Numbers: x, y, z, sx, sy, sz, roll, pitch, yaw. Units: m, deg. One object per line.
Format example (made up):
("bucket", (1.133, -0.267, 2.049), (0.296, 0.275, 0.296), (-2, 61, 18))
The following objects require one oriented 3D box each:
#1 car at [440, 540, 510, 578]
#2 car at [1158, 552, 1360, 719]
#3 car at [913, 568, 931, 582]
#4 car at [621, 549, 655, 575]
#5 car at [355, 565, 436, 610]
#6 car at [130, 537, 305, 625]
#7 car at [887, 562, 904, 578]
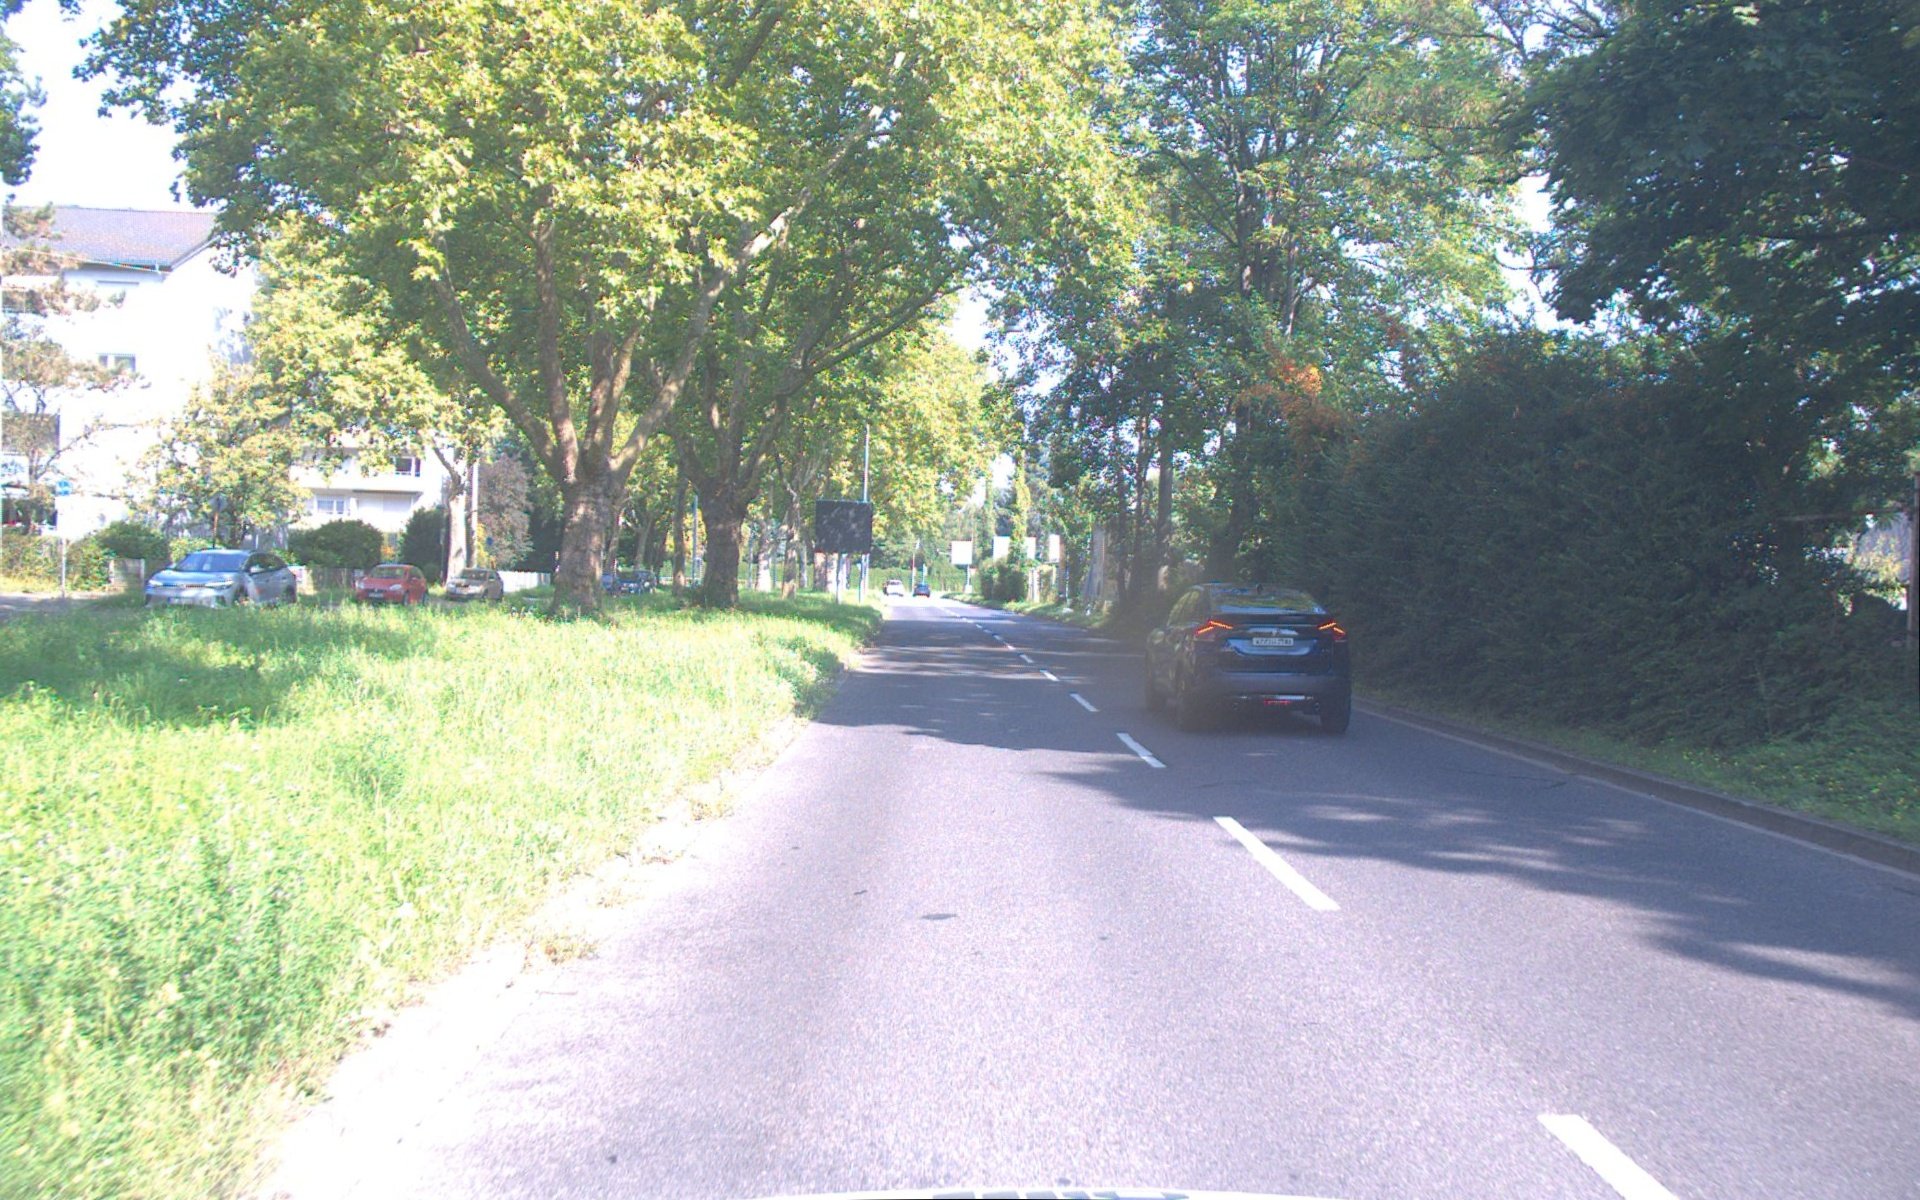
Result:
("car", (-20.435, -1.738, 69.883), (1.765, 1.454, 4.064), (2, 1, -1))
("car", (3.199, 0.318, 18.431), (1.611, 1.616, 4.256), (1, 1, 2))
("car", (-4.013, -2.634, 173.463), (1.762, 1.425, 3.998), (2, 1, -4))
("car", (-23.067, -2.695, 118.708), (1.665, 1.762, 4.657), (2, 1, -2))
("car", (-19.934, -0.466, 58.582), (1.507, 1.477, 4.063), (2, 1, -1))
("car", (-16.169, -0.451, 36.293), (1.765, 1.749, 4.719), (1, 1, -1))
("car", (-6.373, -2.951, 163.539), (1.653, 1.487, 3.999), (2, 1, -2))
